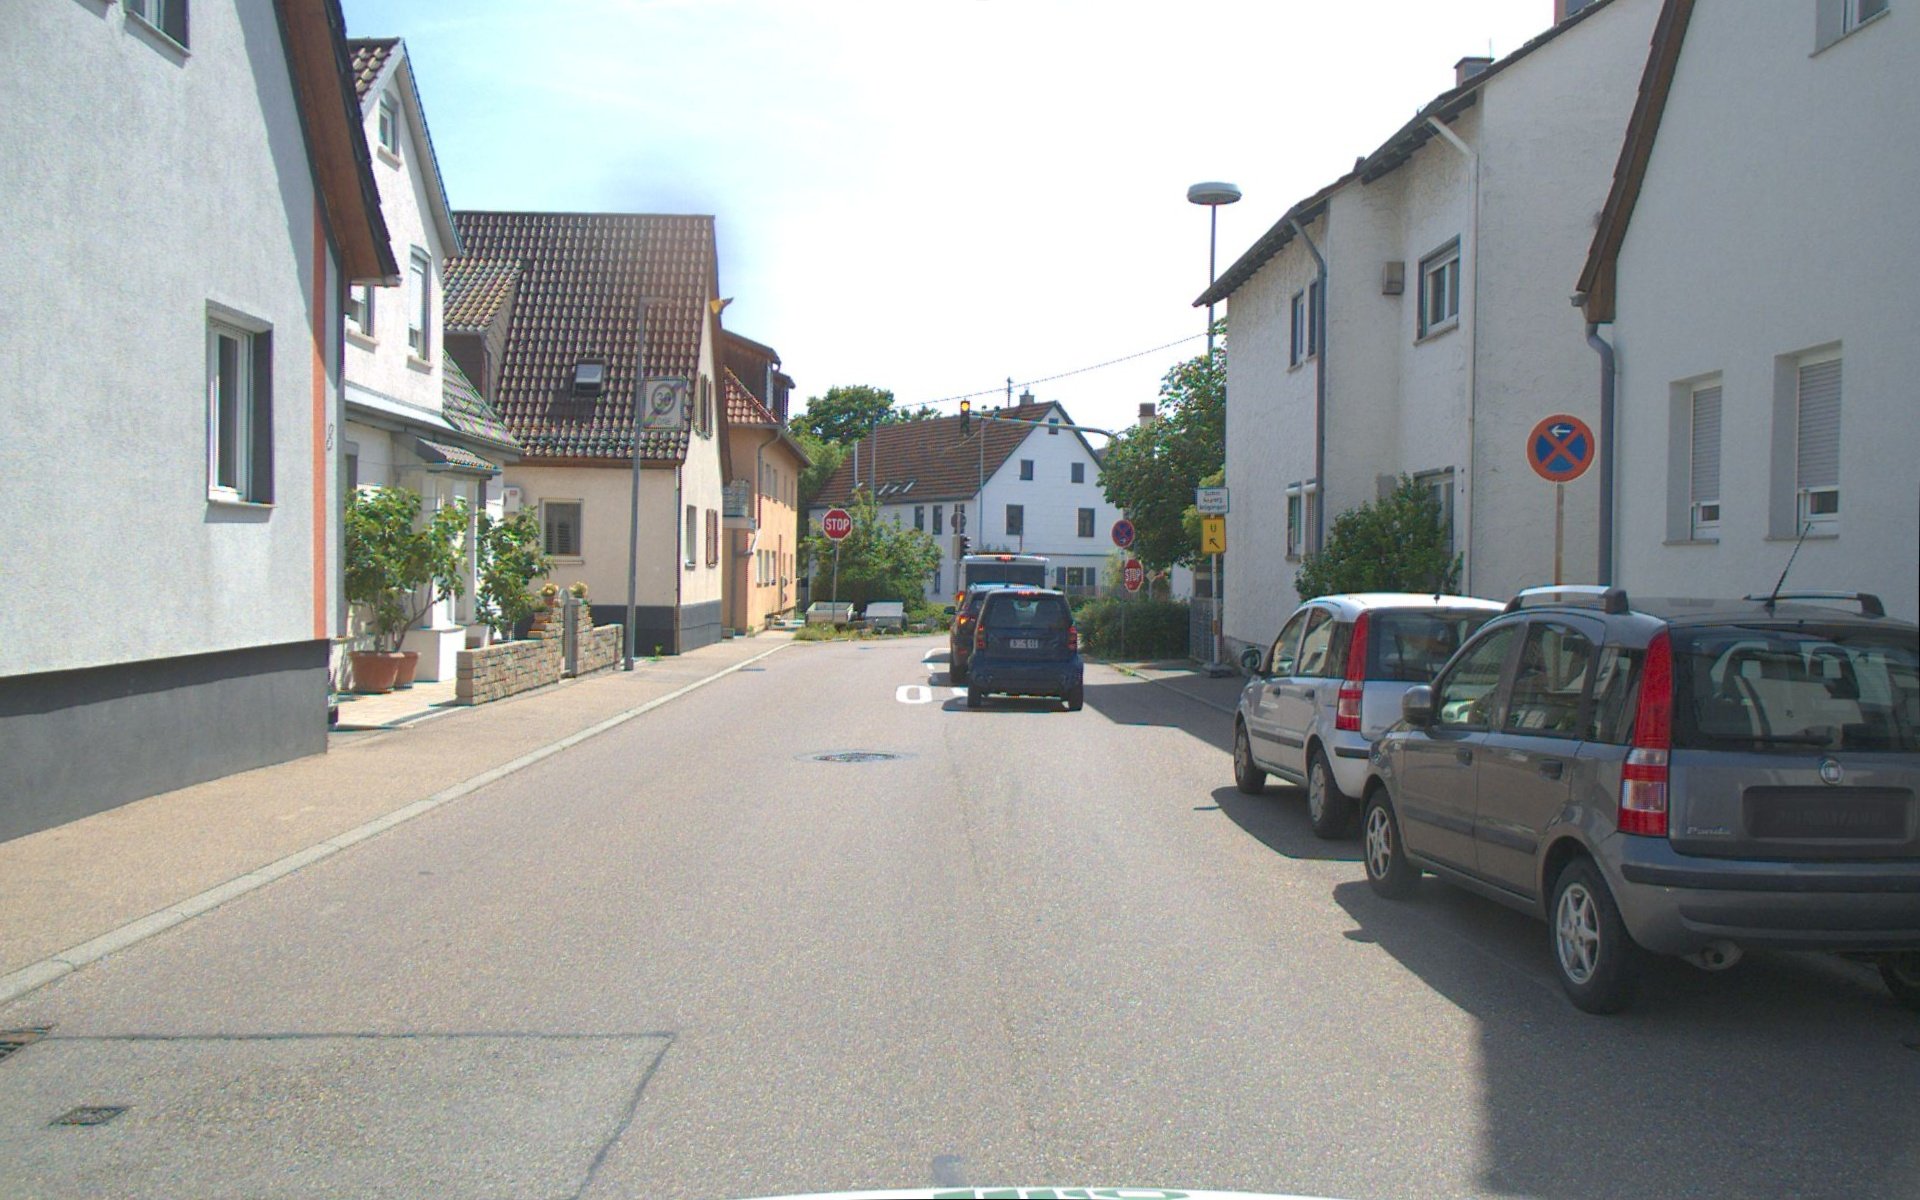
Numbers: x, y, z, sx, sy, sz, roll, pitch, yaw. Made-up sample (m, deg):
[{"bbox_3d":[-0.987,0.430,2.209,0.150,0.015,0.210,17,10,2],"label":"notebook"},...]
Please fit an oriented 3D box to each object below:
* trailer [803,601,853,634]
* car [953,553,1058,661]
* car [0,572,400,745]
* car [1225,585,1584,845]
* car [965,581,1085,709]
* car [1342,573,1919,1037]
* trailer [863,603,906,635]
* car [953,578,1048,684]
[{"bbox_3d":[-4.161,0.545,52.165,1.471,0.943,1.012,3,0,0],"label":"trailer"},{"bbox_3d":[1.078,0.126,36.574,2.084,2.196,4.739,1,0,4],"label":"car"},{"bbox_3d":[-7.423,0.511,15.487,3.758,1.507,1.702,0,0,1],"label":"car"},{"bbox_3d":[2.955,0.685,11.650,1.468,1.539,3.360,1,0,-3],"label":"car"},{"bbox_3d":[0.884,0.562,22.665,1.484,1.594,3.185,2,0,2],"label":"car"},{"bbox_3d":[2.984,0.701,7.391,1.536,1.572,3.447,1,0,-4],"label":"car"},{"bbox_3d":[-2.370,0.585,52.059,1.284,0.987,0.933,1,0,0],"label":"trailer"},{"bbox_3d":[0.682,0.482,27.586,1.484,1.653,3.185,0,0,2],"label":"car"}]
